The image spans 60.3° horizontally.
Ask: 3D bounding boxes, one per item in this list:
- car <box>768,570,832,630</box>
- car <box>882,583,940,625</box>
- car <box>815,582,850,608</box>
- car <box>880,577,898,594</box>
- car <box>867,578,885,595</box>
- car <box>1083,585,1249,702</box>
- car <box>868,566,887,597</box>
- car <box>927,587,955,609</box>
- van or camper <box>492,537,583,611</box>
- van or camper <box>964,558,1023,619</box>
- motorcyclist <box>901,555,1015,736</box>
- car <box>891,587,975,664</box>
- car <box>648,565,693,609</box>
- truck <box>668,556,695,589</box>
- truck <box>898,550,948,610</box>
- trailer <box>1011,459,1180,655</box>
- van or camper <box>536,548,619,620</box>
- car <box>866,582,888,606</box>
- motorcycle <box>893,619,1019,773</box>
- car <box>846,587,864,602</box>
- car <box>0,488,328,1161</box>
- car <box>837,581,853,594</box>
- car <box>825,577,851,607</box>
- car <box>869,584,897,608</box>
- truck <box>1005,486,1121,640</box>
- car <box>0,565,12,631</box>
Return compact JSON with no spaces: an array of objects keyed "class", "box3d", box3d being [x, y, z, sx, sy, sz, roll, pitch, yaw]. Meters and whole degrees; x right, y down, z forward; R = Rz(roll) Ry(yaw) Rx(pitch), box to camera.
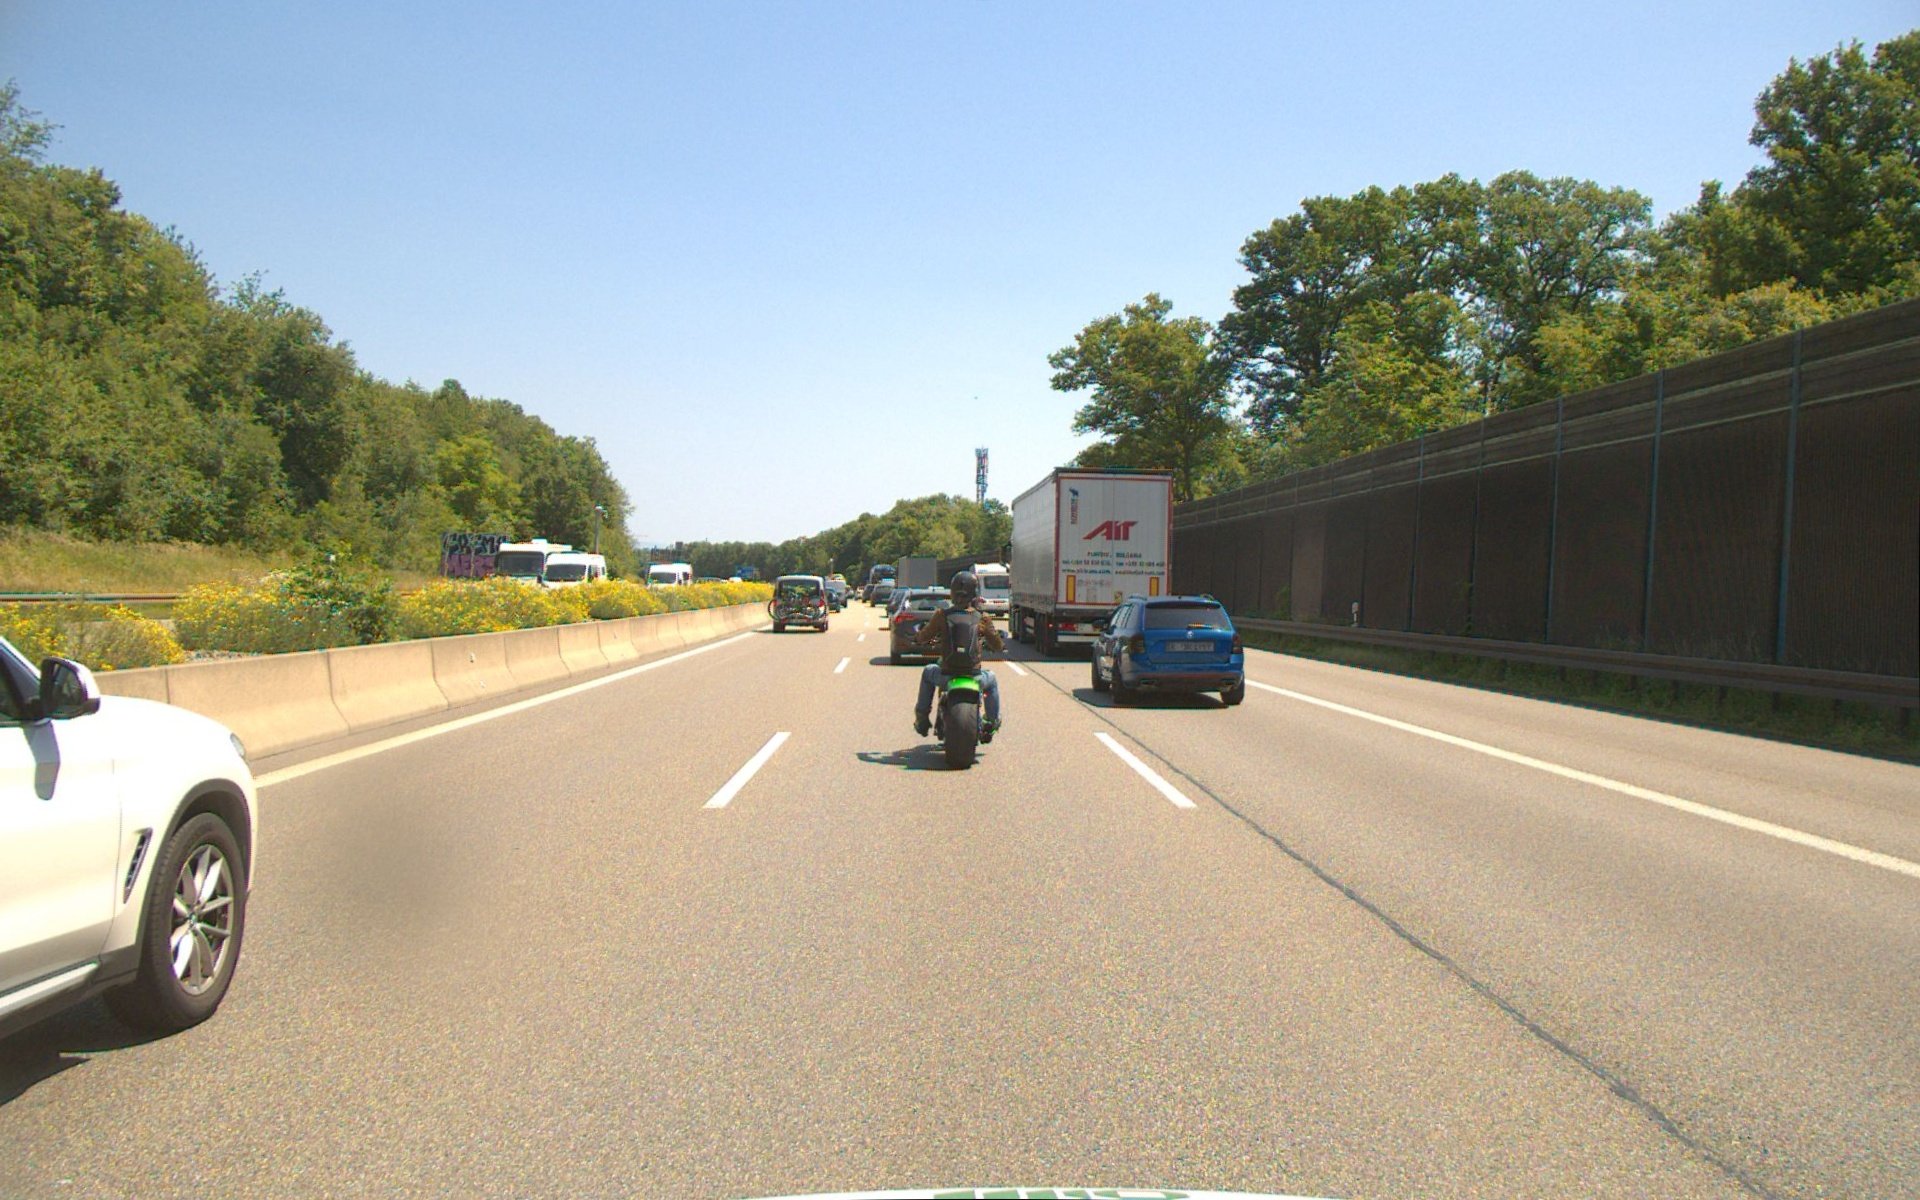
[{"class":"car","box3d":[-5.299,0.039,55.157,1.861,1.906,4.410,0,-1,-3]},{"class":"car","box3d":[-1.733,0.159,59.546,1.953,1.455,3.847,0,-1,0]},{"class":"car","box3d":[-7.260,-0.267,94.069,1.954,1.411,3.996,0,-1,-5]},{"class":"car","box3d":[-8.396,-1.655,195.370,2.066,1.909,3.997,0,-1,-4]},{"class":"car","box3d":[-10.254,-1.603,200.926,2.066,1.909,3.996,0,-1,-4]},{"class":"car","box3d":[2.854,0.592,23.785,1.617,1.509,4.479,0,-1,-3]},{"class":"car","box3d":[-10.778,-2.413,214.837,2.092,3.929,8.134,1,0,-5]},{"class":"car","box3d":[-1.446,-0.149,126.746,1.954,1.601,3.997,0,-1,-3]},{"class":"van or camper","box3d":[-20.846,-1.191,82.072,2.489,3.375,8.998,0,-1,-2]},{"class":"van or camper","box3d":[1.574,-0.496,80.275,2.630,2.862,6.801,0,-1,-1]},{"class":"motorcyclist","box3d":[0.013,0.387,14.685,0.881,1.501,1.873,0,-1,3]},{"class":"car","box3d":[-0.604,0.518,34.141,1.629,1.478,3.867,0,-1,-3]},{"class":"car","box3d":[-19.165,-0.860,109.620,2.156,2.789,5.744,0,1,-3]},{"class":"truck","box3d":[-36.843,-3.645,218.757,2.906,4.179,6.082,0,-1,-5]},{"class":"truck","box3d":[-3.262,-1.648,144.491,3.729,5.047,8.940,0,-1,-5]},{"class":"trailer","box3d":[3.082,-0.954,41.832,2.827,4.109,13.791,0,0,-1]},{"class":"van or camper","box3d":[-16.586,-0.696,72.083,2.212,2.950,6.555,0,0,-2]},{"class":"car","box3d":[-7.454,-0.528,148.402,1.874,2.049,3.687,0,-1,-5]},{"class":"motorcycle","box3d":[0.019,0.791,14.769,0.944,1.168,2.813,1,0,3]},{"class":"car","box3d":[-11.038,-0.591,174.415,1.795,1.522,3.741,0,-1,-3]},{"class":"car","box3d":[-3.364,0.572,4.050,1.826,1.724,4.955,0,0,-1]},{"class":"car","box3d":[-14.044,-1.494,202.593,1.795,1.522,3.742,0,-1,-2]},{"class":"car","box3d":[-8.608,-0.547,116.494,1.756,2.049,3.639,0,-1,-4]},{"class":"car","box3d":[-5.541,-0.255,118.899,1.954,1.669,3.997,0,-1,-3]},{"class":"truck","box3d":[2.913,-1.049,48.522,2.827,4.218,5.983,0,0,-2]},{"class":"car","box3d":[-22.218,-0.040,35.012,1.953,1.457,4.190,0,0,-2]}]
